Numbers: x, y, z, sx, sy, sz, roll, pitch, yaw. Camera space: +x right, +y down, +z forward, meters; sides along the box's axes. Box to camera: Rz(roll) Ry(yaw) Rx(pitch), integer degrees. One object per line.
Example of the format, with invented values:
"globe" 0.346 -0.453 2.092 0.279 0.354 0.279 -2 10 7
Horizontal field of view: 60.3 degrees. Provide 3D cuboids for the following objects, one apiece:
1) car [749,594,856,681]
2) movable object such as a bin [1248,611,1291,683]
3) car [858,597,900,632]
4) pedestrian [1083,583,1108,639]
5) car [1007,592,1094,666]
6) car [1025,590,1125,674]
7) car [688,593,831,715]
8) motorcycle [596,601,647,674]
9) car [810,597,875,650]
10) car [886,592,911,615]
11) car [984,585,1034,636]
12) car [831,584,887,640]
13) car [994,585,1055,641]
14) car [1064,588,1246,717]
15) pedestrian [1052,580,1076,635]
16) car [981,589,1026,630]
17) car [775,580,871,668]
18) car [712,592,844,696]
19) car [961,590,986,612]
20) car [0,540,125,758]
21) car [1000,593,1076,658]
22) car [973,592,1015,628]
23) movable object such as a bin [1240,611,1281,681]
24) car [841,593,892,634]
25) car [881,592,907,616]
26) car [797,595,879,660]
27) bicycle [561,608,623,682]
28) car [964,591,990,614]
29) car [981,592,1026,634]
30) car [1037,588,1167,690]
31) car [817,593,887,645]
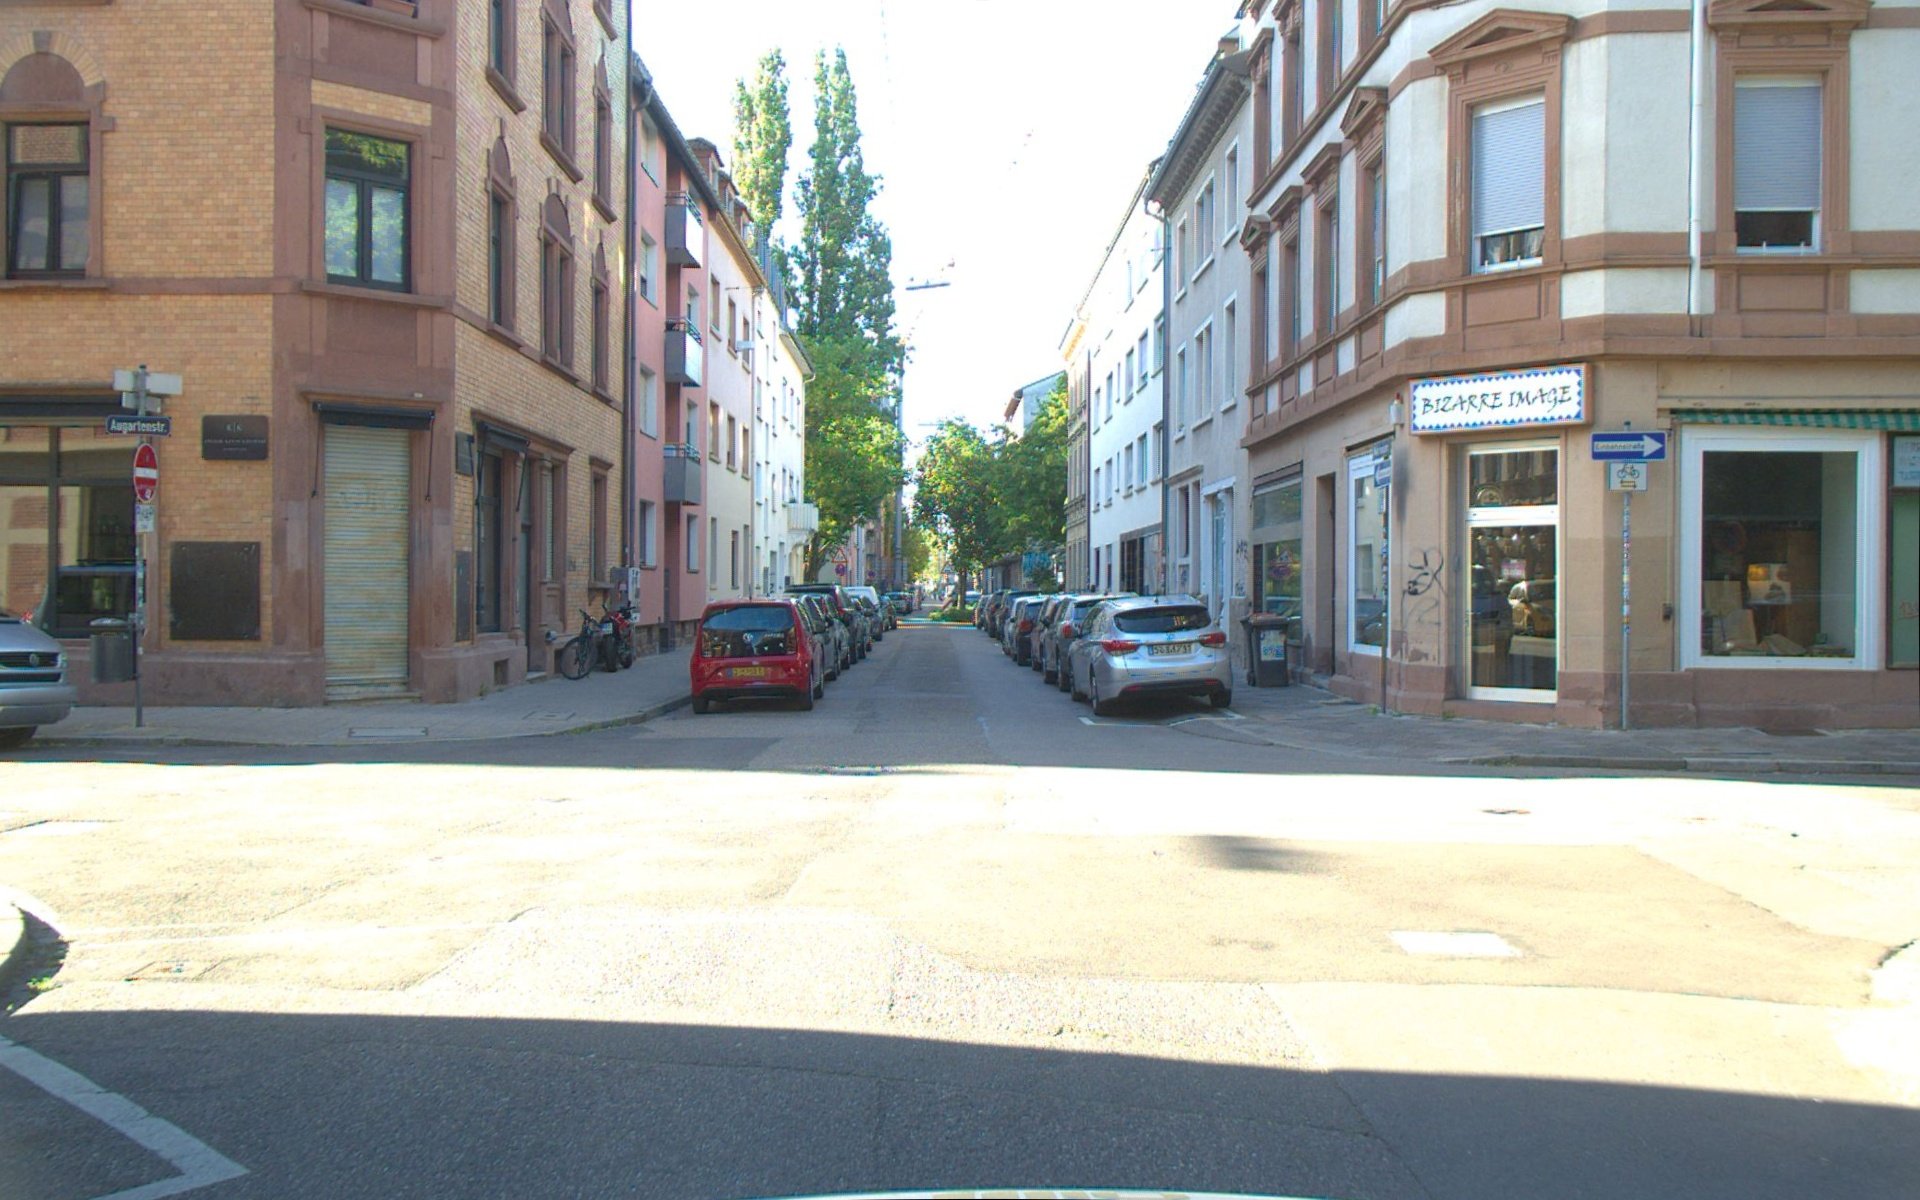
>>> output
"car" -3.041 0.689 32.599 1.622 1.547 3.945 -2 0 1
"movable object such as a bin" 4.707 0.705 25.160 0.503 1.058 0.619 -2 0 0
"car" -3.413 0.601 70.234 1.636 1.385 4.048 -2 0 -1
"pedestrian" 4.139 0.337 50.632 0.671 1.689 0.717 -1 0 -1
"car" 2.020 0.618 37.914 1.642 1.533 3.936 -2 0 -2
"car" 2.249 0.586 33.190 1.566 1.533 4.183 -2 0 -2
"car" -2.711 0.685 23.014 1.595 1.507 3.600 -2 0 -2
"motorcycle" -5.936 0.636 29.106 0.522 1.227 1.908 0 0 0
"car" -3.383 0.656 48.312 1.639 1.412 4.181 -2 0 -1
"car" -4.335 0.246 116.553 1.642 1.513 4.093 -2 0 -2
"car" 1.734 0.382 59.886 1.641 1.711 4.094 -2 0 0
"car" -3.472 0.381 57.235 1.729 1.816 4.038 -2 0 -2
"car" 2.081 0.418 54.353 1.642 1.655 4.249 -4 0 -2
"car" 2.559 0.636 22.708 1.709 1.533 4.355 -2 0 -4
"pedestrian" 3.187 0.231 50.842 0.671 1.689 0.717 -1 0 -1
"car" 1.775 0.363 68.974 1.642 1.588 3.795 -2 0 -2
"car" -3.082 0.505 38.078 1.707 1.842 4.672 -2 0 1
"car" -2.976 0.668 27.761 1.660 1.547 4.096 -2 0 1
"car" 0.937 0.065 119.284 1.642 1.513 3.637 -2 0 -2
"car" -10.721 0.463 15.647 4.612 1.927 2.027 0 -2 4
"car" 1.963 0.611 42.657 1.642 1.533 3.936 -2 0 -2
"car" 1.505 0.436 73.874 1.642 1.513 4.093 -2 0 -2
"movable object such as a bin" 4.698 0.715 25.913 0.503 1.058 0.594 -2 0 0
"car" -3.690 0.513 66.109 1.635 1.495 3.821 -2 0 2
"car" -4.407 0.252 111.400 1.642 1.513 4.093 -2 0 -2
"car" -3.132 0.669 43.287 1.707 1.533 4.347 -2 0 1
"bicycle" -5.920 0.709 26.687 0.522 1.092 1.891 4 0 0
"car" 1.151 0.175 112.851 1.642 1.513 3.637 -2 0 -2
"car" 1.686 0.489 64.758 1.535 1.509 3.618 -2 0 -2
"car" 2.328 0.597 27.946 1.709 1.533 4.020 -2 0 -2
"car" -3.405 0.588 52.705 1.638 1.512 3.994 -2 0 4
